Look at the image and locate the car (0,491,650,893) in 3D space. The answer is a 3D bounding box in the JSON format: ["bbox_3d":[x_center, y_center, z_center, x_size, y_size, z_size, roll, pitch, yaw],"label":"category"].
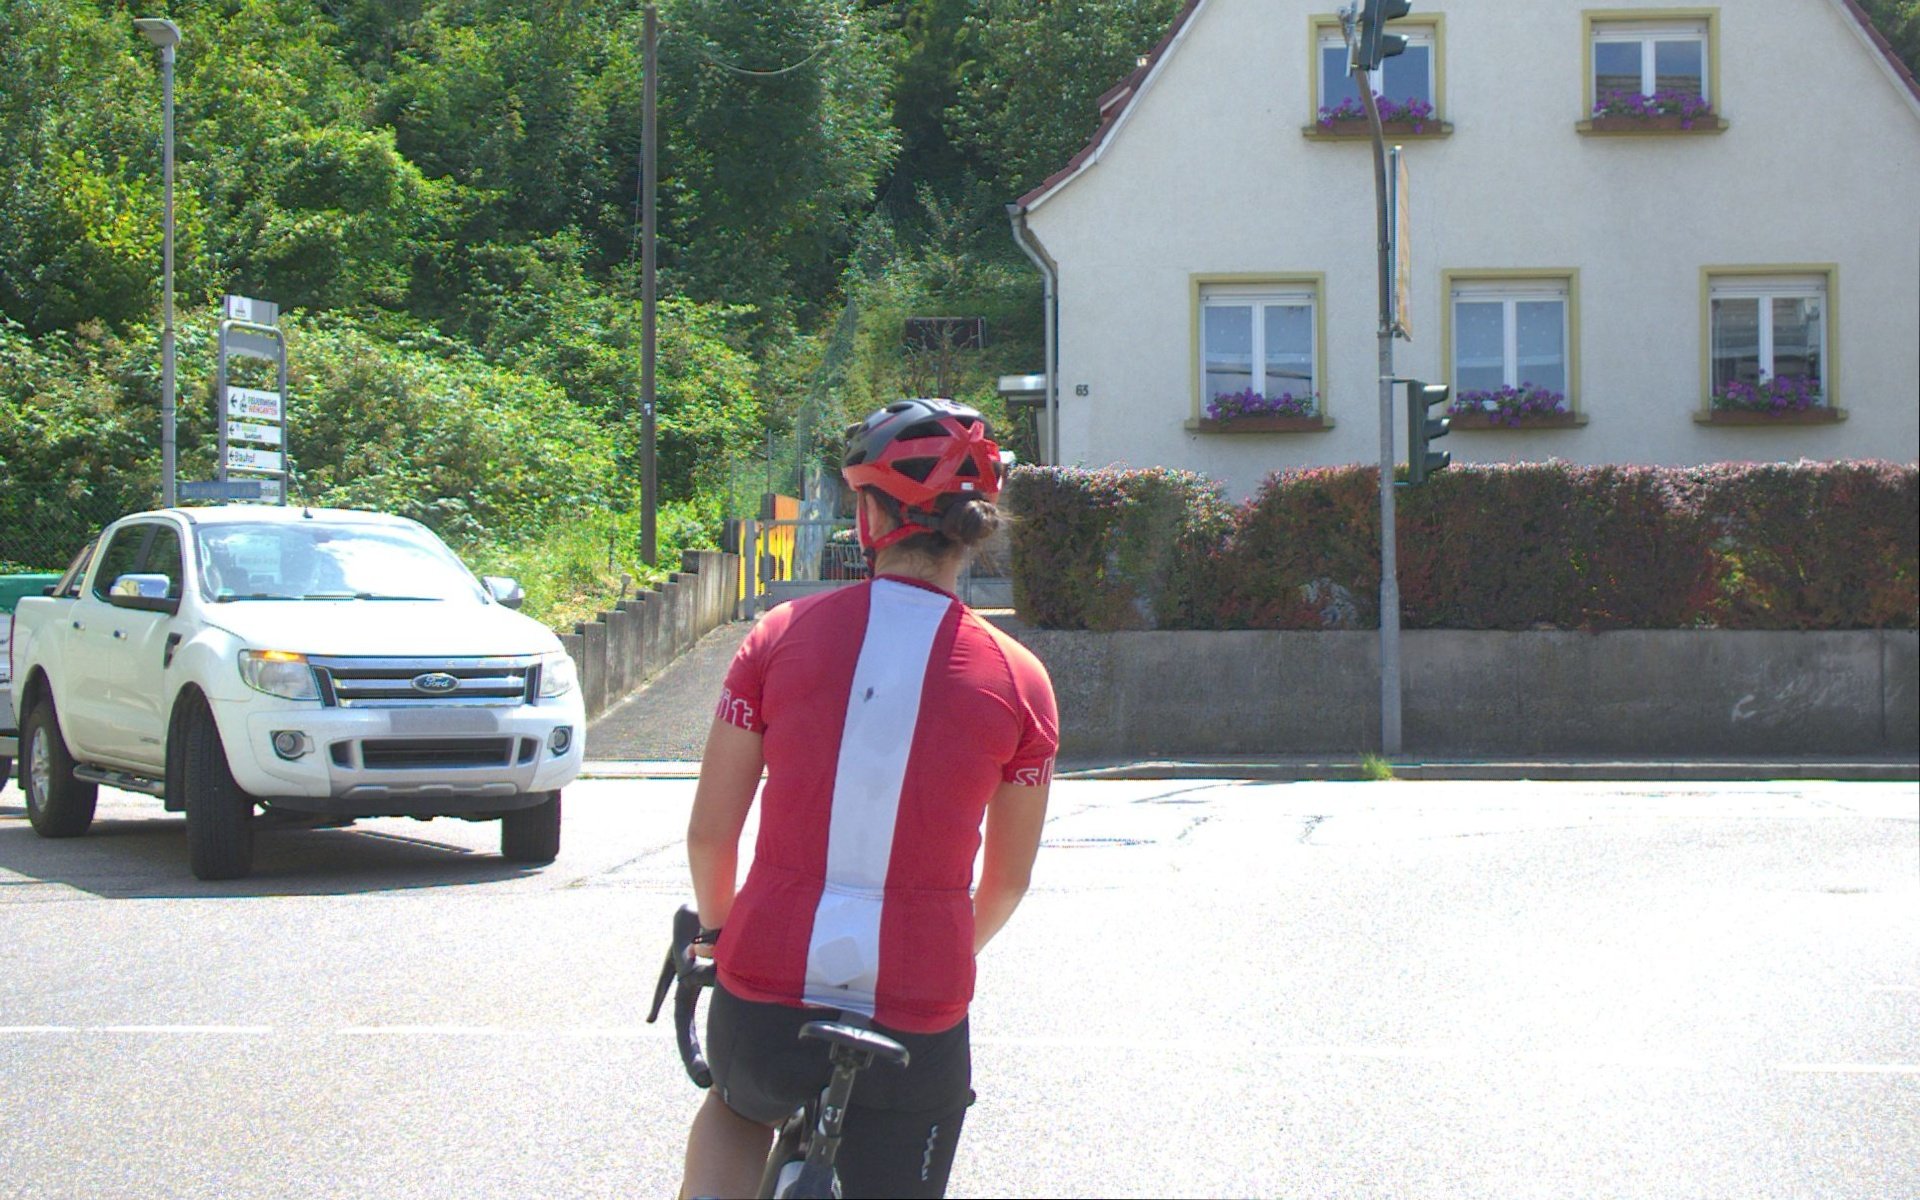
[{"bbox_3d":[-3.625,0.392,18.151,1.972,1.769,5.315,-2,1,-29],"label":"car"}]

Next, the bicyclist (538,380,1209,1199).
[{"bbox_3d":[-0.157,0.565,4.630,0.760,1.659,0.869,1,1,-10],"label":"bicyclist"}]

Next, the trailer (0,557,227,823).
[{"bbox_3d":[-6.984,0.544,22.061,4.440,1.534,1.975,-1,1,36],"label":"trailer"}]

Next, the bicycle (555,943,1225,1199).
[{"bbox_3d":[-0.172,0.995,4.526,0.629,0.902,1.657,1,1,-10],"label":"bicycle"}]
